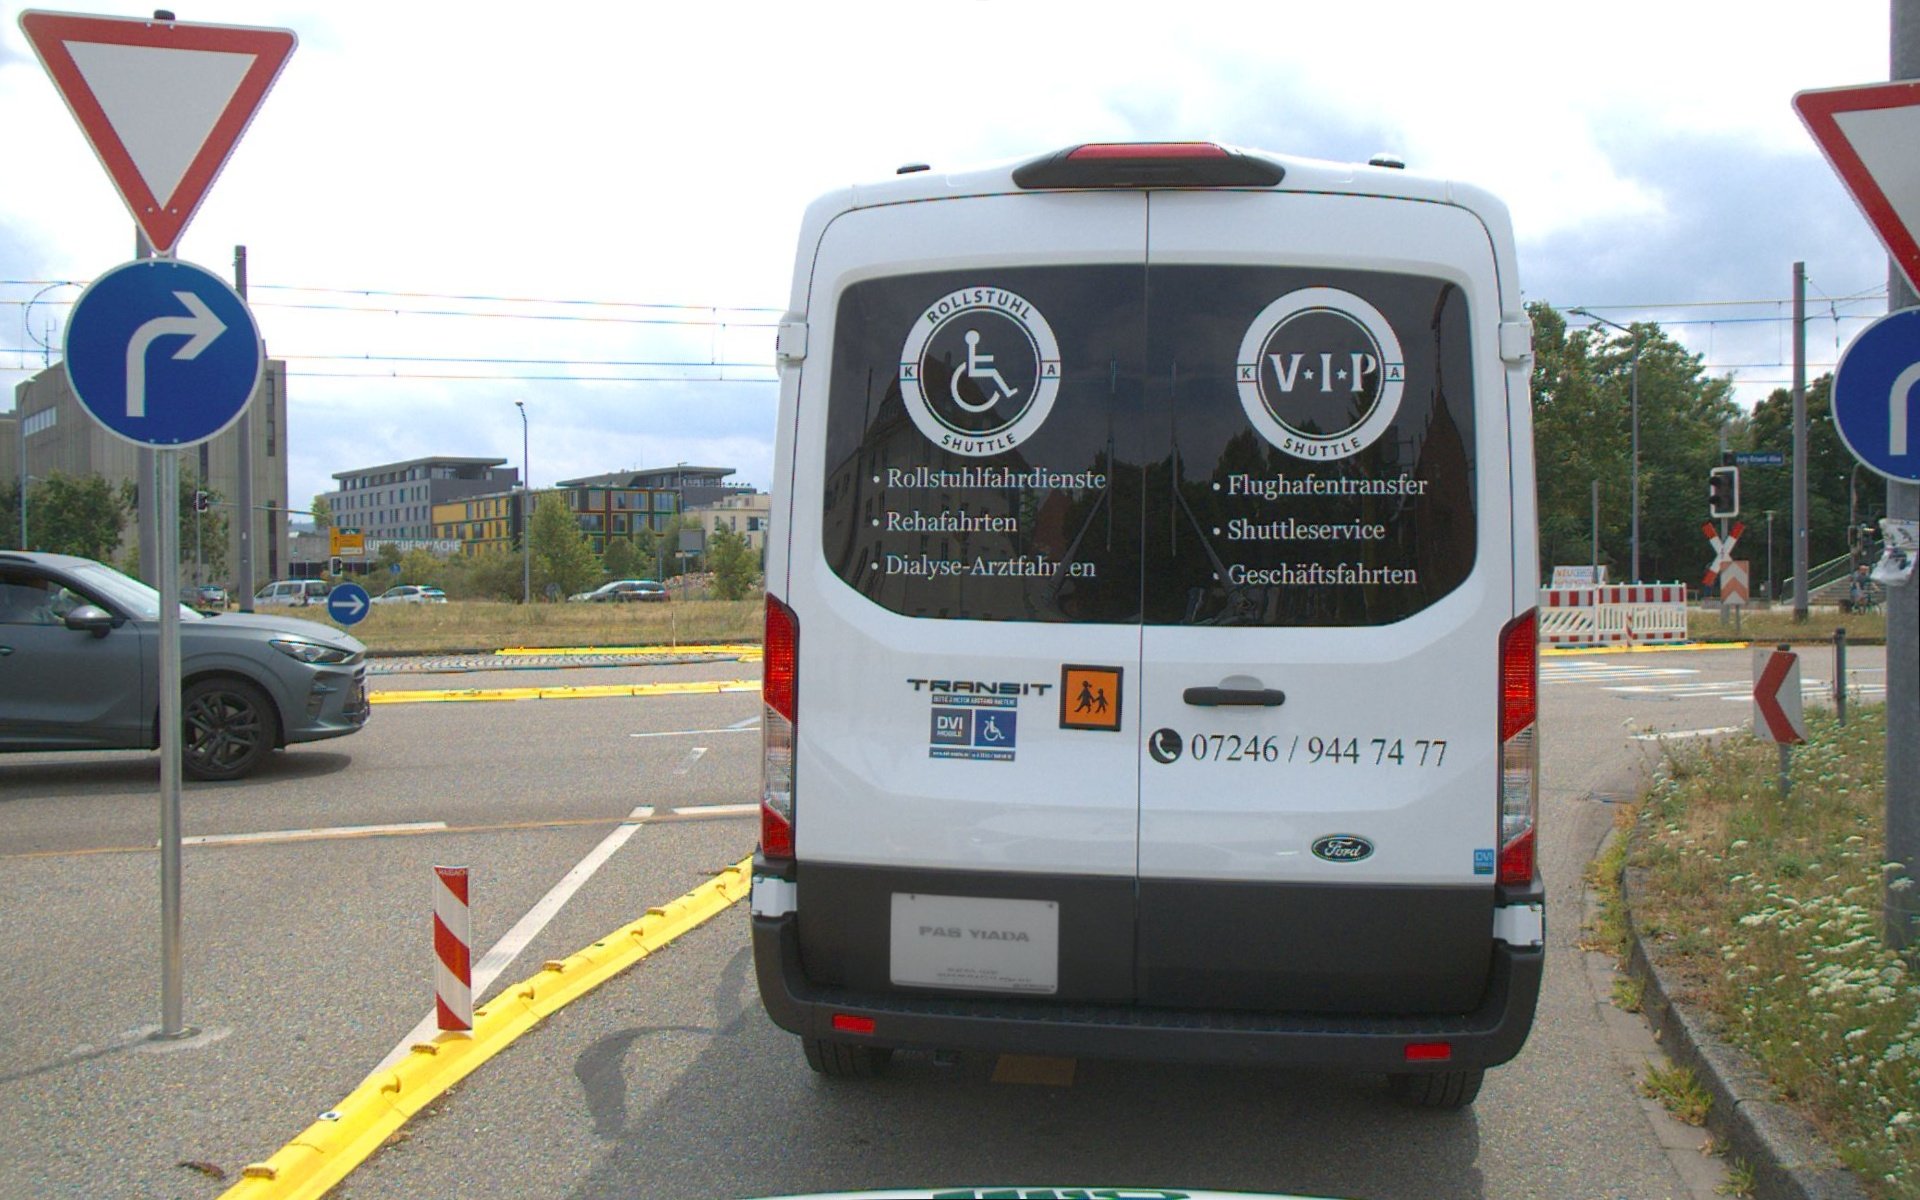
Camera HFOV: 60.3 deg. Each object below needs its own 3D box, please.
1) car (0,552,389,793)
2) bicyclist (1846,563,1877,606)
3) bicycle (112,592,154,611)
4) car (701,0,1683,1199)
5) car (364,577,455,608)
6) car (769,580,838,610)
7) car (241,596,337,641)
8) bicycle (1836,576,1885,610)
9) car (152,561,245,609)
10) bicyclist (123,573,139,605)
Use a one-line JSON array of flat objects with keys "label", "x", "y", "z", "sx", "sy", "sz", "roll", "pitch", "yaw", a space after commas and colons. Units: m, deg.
[{"label": "car", "x": -6.567, "y": 0.476, "z": 12.010, "sx": 4.386, "sy": 1.578, "sz": 2.057, "roll": -1, "pitch": 1, "yaw": -15}, {"label": "bicyclist", "x": 27.960, "y": -0.479, "z": 51.293, "sx": 0.624, "sy": 1.340, "sz": 0.675, "roll": 0, "pitch": 1, "yaw": 3}, {"label": "bicycle", "x": -40.900, "y": 0.077, "z": 81.790, "sx": 1.803, "sy": 0.892, "sz": 0.527, "roll": -1, "pitch": 1, "yaw": -22}, {"label": "car", "x": 0.713, "y": 0.038, "z": 6.371, "sx": 2.081, "sy": 2.744, "sz": 5.635, "roll": 0, "pitch": 1, "yaw": 5}, {"label": "car", "x": -26.665, "y": -0.354, "z": 80.074, "sx": 3.904, "sy": 1.489, "sz": 1.833, "roll": 0, "pitch": -1, "yaw": 21}, {"label": "car", "x": -8.221, "y": -0.261, "z": 87.233, "sx": 1.792, "sy": 1.489, "sz": 3.995, "roll": 0, "pitch": 0, "yaw": 27}, {"label": "car", "x": -31.536, "y": 0.862, "z": 77.719, "sx": 4.267, "sy": 2.049, "sz": 1.996, "roll": 0, "pitch": -1, "yaw": 30}, {"label": "bicycle", "x": 27.966, "y": -0.216, "z": 51.377, "sx": 0.638, "sy": 1.024, "sz": 1.757, "roll": 0, "pitch": 1, "yaw": 3}, {"label": "car", "x": -33.846, "y": -0.634, "z": 73.487, "sx": 3.917, "sy": 2.049, "sz": 1.994, "roll": 0, "pitch": -1, "yaw": 34}, {"label": "bicyclist", "x": -40.991, "y": -0.548, "z": 81.763, "sx": 0.639, "sy": 1.585, "sz": 0.527, "roll": -1, "pitch": 1, "yaw": -21}]
